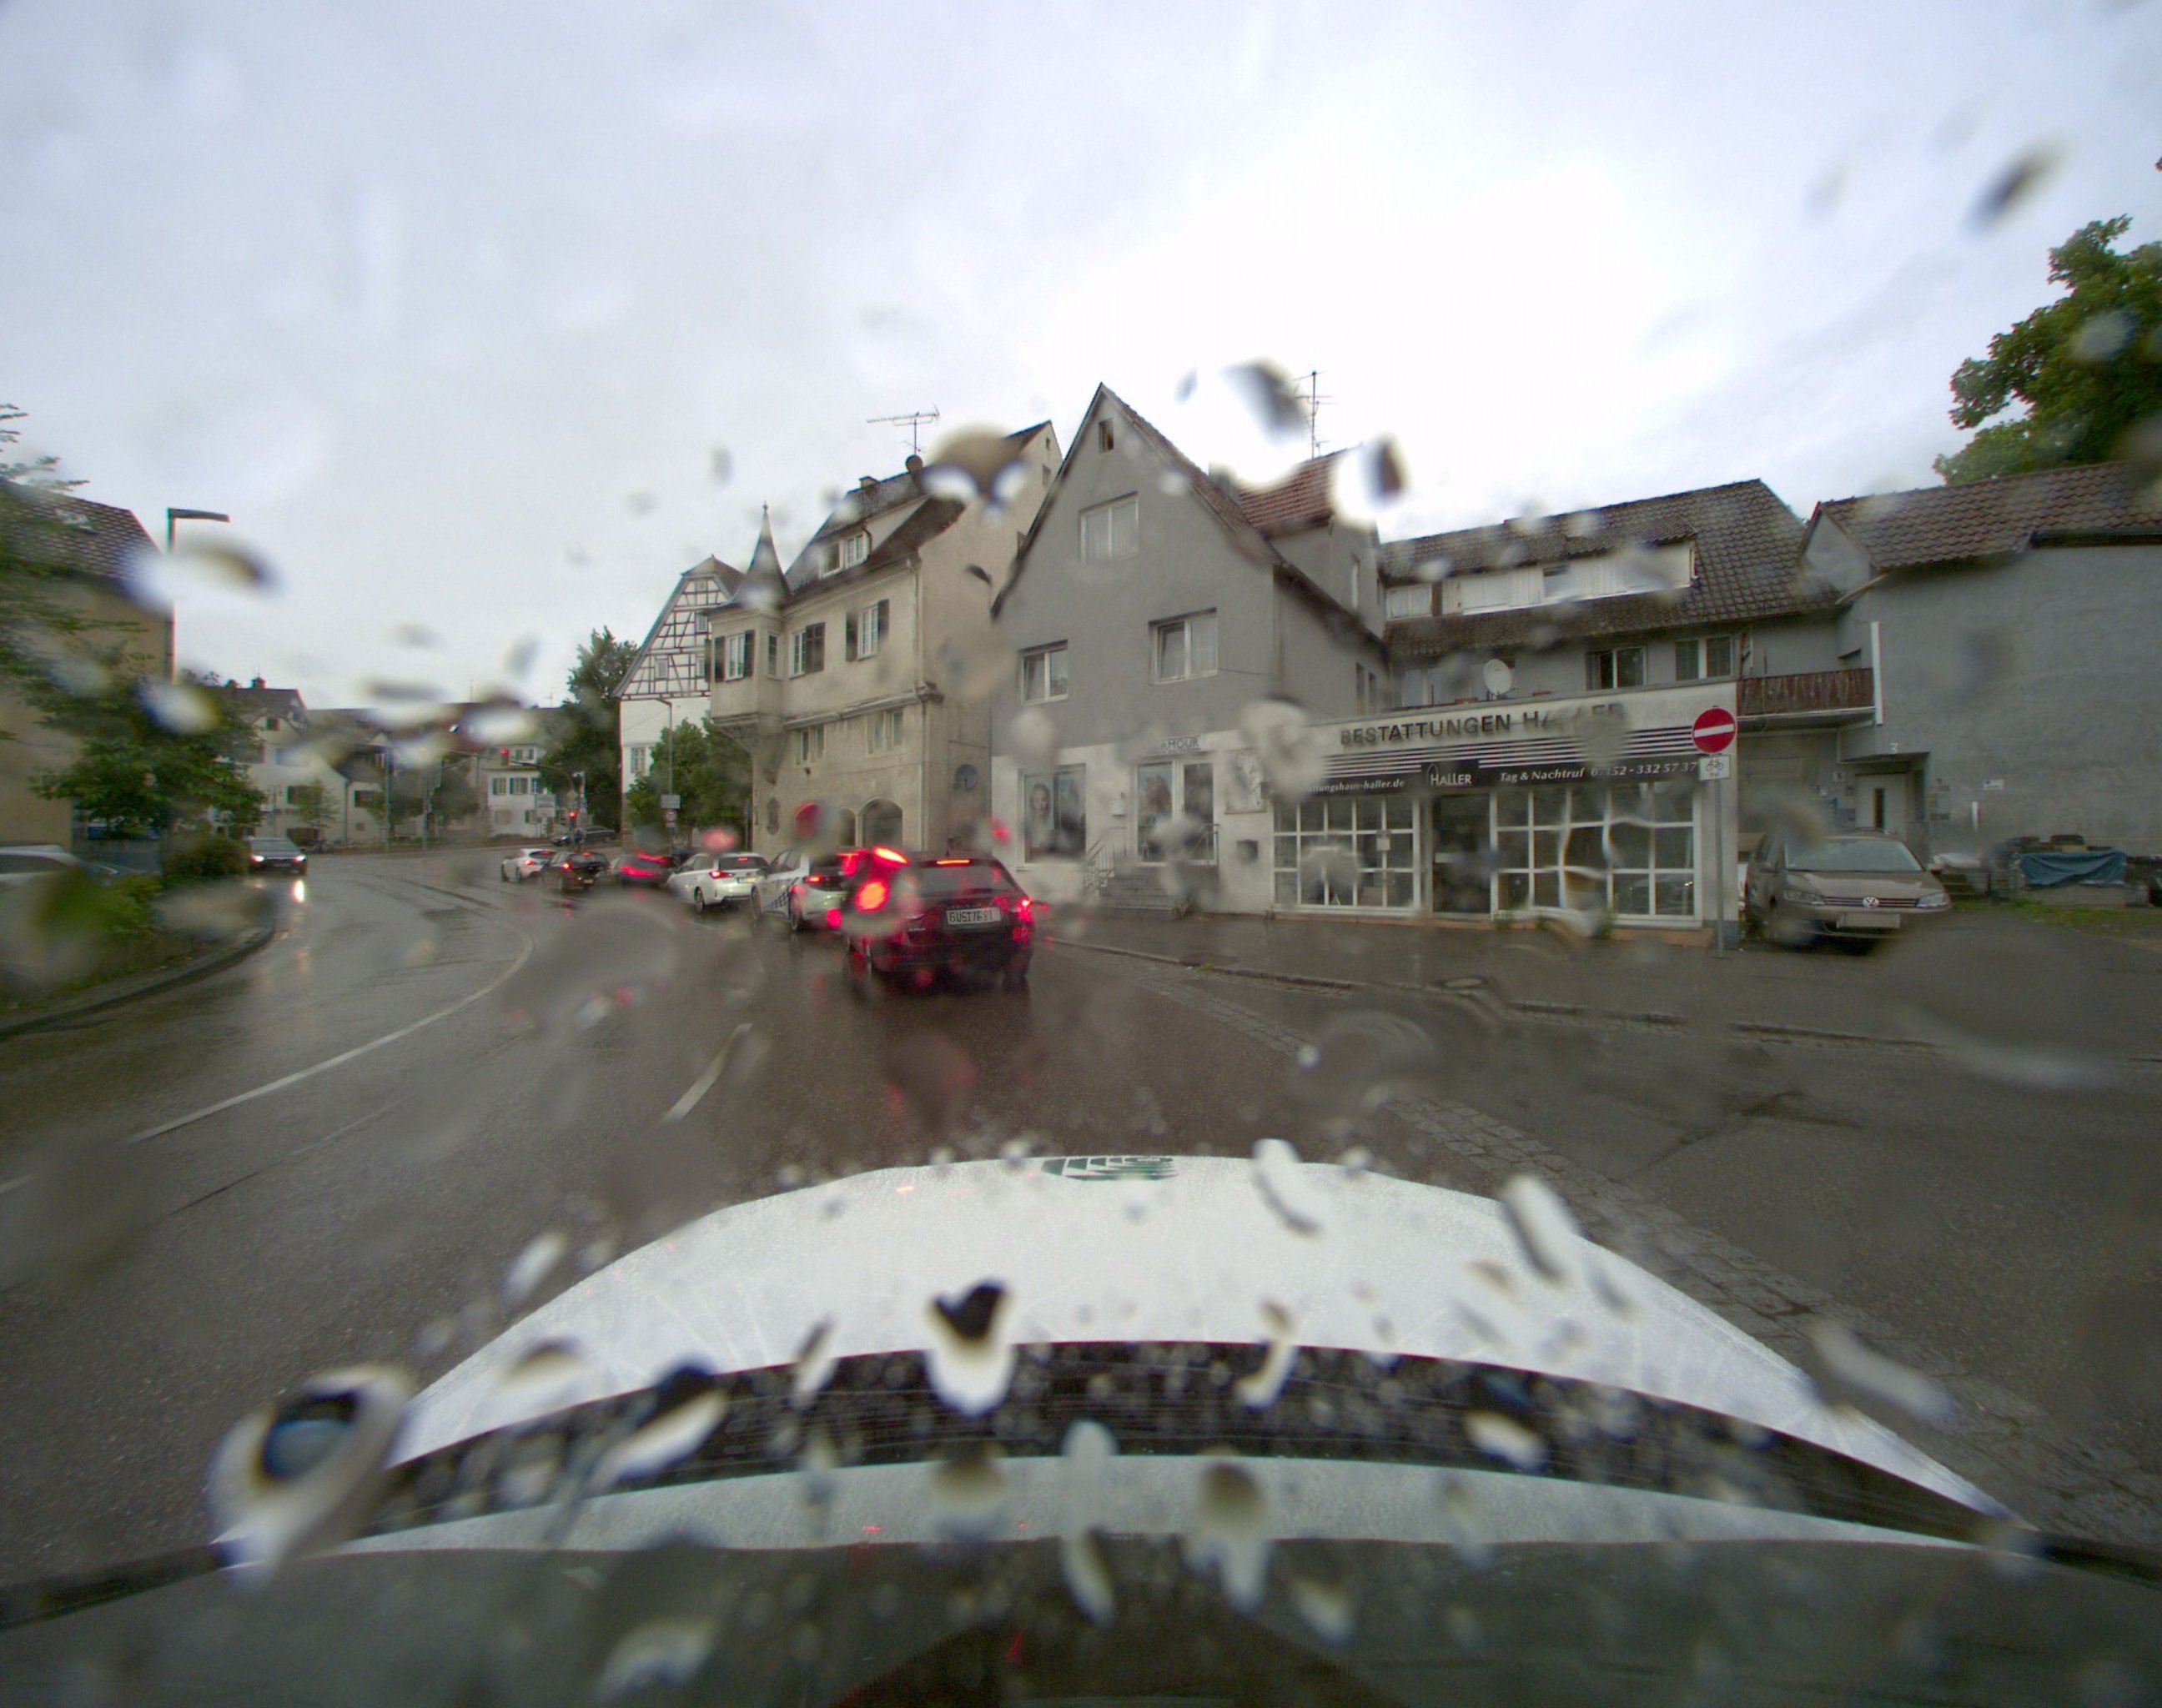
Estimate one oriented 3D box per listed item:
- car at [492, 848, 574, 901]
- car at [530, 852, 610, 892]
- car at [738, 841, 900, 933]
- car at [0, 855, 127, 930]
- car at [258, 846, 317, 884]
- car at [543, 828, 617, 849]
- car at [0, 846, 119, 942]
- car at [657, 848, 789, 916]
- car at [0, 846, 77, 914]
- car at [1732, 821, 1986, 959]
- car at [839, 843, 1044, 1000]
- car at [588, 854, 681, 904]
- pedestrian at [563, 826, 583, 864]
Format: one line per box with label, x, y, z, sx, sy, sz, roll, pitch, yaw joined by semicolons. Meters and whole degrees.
car;-23.570;0.812;34.967;3.911;2.090;1.992;1;2;42
car;-18.934;0.622;30.101;3.579;1.312;1.678;1;3;44
car;-5.300;0.570;16.137;1.803;1.517;4.194;-3;1;-36
car;-22.380;0.785;16.523;1.692;1.455;3.558;0;1;24
car;-34.753;0.478;35.699;1.748;1.510;4.220;-3;1;-44
car;-37.540;-1.134;61.129;1.632;1.389;4.555;7;3;23
car;-20.115;0.733;14.458;1.692;1.685;3.558;0;1;24
car;-9.125;0.615;20.614;1.801;1.465;4.114;-3;3;-42
car;-26.186;0.629;18.727;1.692;1.576;3.558;0;1;24
car;11.737;0.377;12.693;1.905;1.727;4.698;-1;2;32
car;-1.950;0.622;10.153;1.738;1.450;4.212;-2;2;-21
car;-14.123;0.727;25.675;3.721;1.361;1.533;1;3;44
pedestrian;-31.253;-0.544;50.090;0.872;2.326;1.216;-1;0;-40
